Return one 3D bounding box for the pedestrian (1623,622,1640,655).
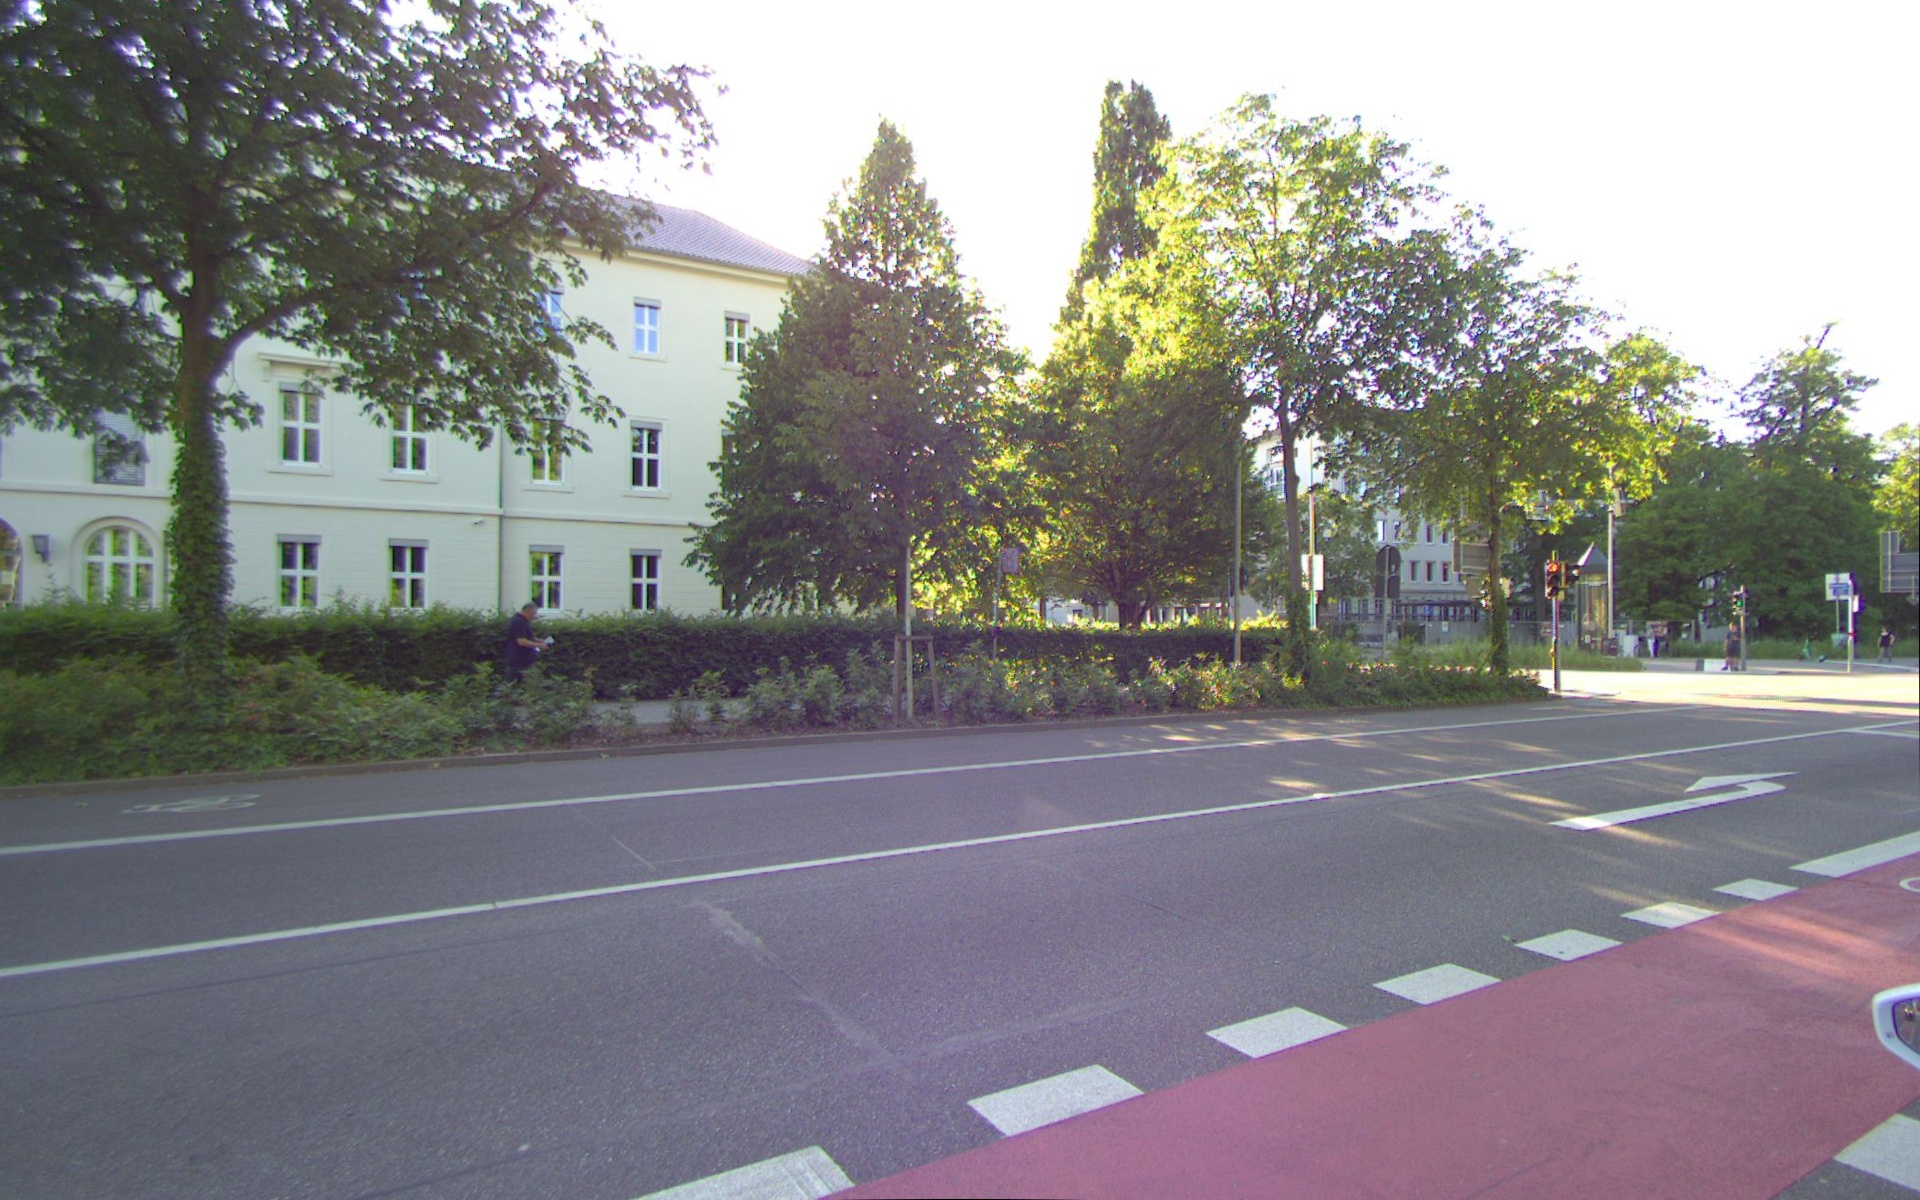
[{"bbox_3d":[34.214,1.969,51.175,0.442,1.664,0.624,1,0,-39],"label":"pedestrian"}]

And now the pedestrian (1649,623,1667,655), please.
[{"bbox_3d":[34.599,1.927,49.814,0.442,1.601,0.624,1,0,-39],"label":"pedestrian"}]

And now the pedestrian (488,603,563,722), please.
[{"bbox_3d":[-6.599,0.929,15.251,0.956,1.743,0.831,1,-2,-29],"label":"pedestrian"}]

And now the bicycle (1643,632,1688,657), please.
[{"bbox_3d":[35.027,2.190,49.894,0.288,1.163,1.849,1,-1,-36],"label":"bicycle"}]

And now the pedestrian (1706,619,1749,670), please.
[{"bbox_3d":[31.871,1.847,41.715,1.175,2.040,0.992,1,0,-25],"label":"pedestrian"}]

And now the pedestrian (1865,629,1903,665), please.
[{"bbox_3d":[42.157,2.129,45.824,0.992,1.624,1.080,1,-2,-36],"label":"pedestrian"}]

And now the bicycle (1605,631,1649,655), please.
[{"bbox_3d":[34.306,2.215,51.660,0.439,1.163,1.849,1,-1,-36],"label":"bicycle"}]

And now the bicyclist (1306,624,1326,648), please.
[{"bbox_3d":[24.996,2.529,70.461,0.867,1.627,0.970,1,-2,-29],"label":"bicyclist"}]

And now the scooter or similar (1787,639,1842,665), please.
[{"bbox_3d":[39.629,2.395,46.611,1.882,1.139,0.713,1,0,3],"label":"scooter or similar"}]
